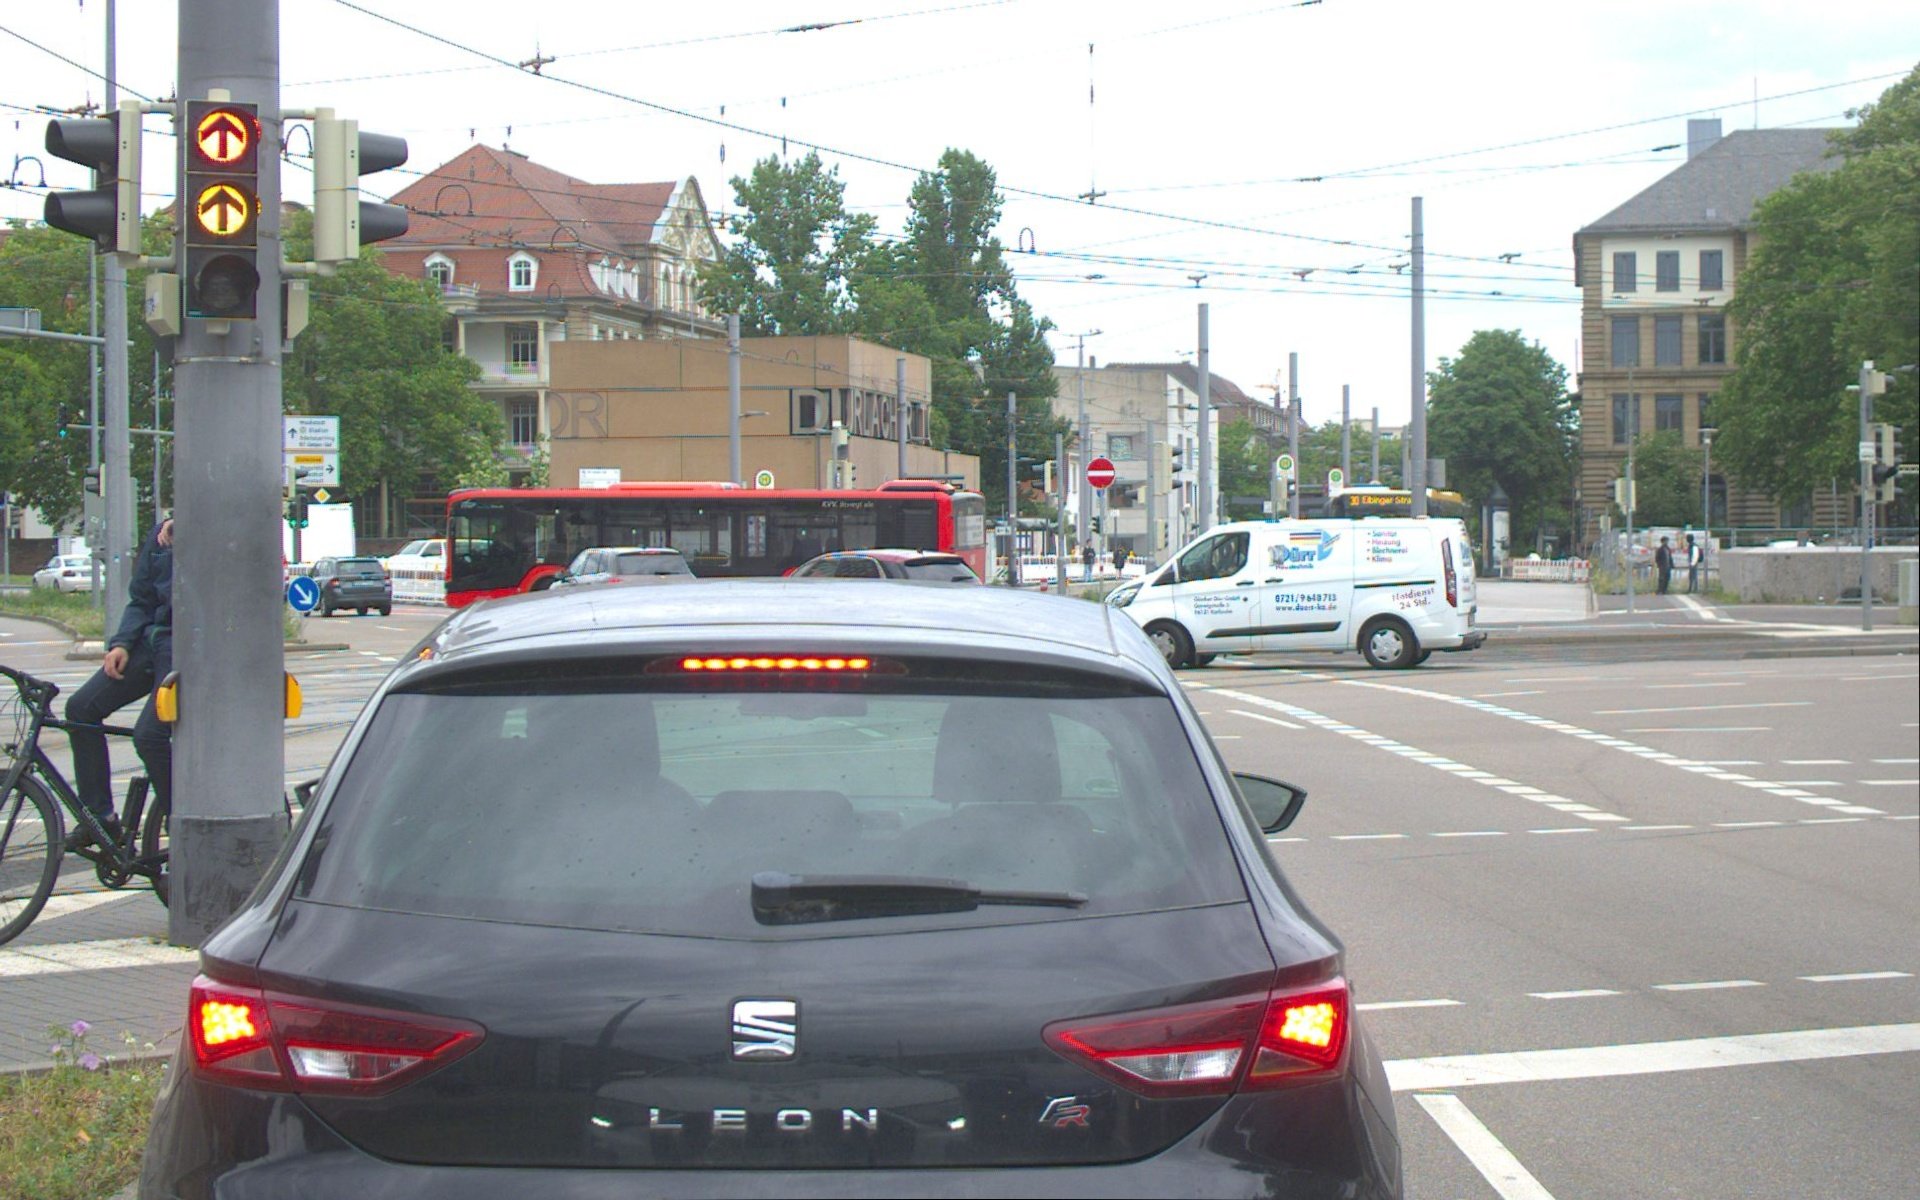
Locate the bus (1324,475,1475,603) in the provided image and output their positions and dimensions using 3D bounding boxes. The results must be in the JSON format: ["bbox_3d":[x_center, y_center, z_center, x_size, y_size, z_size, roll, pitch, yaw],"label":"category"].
[{"bbox_3d":[12.188,-1.660,94.275,3.018,3.256,13.036,0,1,12],"label":"bus"}]

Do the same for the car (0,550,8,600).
[{"bbox_3d":[-33.101,-0.822,114.229,1.993,1.634,4.001,-1,1,-28],"label":"car"}]

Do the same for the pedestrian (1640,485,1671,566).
[{"bbox_3d":[36.931,-3.945,182.520,1.387,4.239,1.347,0,1,0],"label":"pedestrian"}]

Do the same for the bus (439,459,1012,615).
[{"bbox_3d":[-5.210,-1.351,75.802,12.349,3.286,3.066,0,1,18],"label":"bus"}]

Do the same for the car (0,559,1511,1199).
[{"bbox_3d":[-0.266,0.675,5.964,1.746,1.459,4.000,0,1,-1],"label":"car"}]

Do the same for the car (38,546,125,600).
[{"bbox_3d":[-28.957,-0.906,113.276,1.993,1.744,4.001,-1,1,-26],"label":"car"}]

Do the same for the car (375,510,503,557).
[{"bbox_3d":[-21.794,-2.793,144.000,4.991,1.858,1.999,-2,-2,-44],"label":"car"}]

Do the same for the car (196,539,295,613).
[{"bbox_3d":[-20.085,-0.695,96.536,1.993,2.007,4.001,-1,1,-22],"label":"car"}]

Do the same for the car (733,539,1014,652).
[{"bbox_3d":[-1.329,-0.088,51.170,1.859,1.595,4.203,-1,1,-43],"label":"car"}]

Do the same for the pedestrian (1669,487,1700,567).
[{"bbox_3d":[38.462,-3.881,182.499,1.307,4.239,1.347,0,1,0],"label":"pedestrian"}]

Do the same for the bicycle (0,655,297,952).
[{"bbox_3d":[-3.426,0.773,13.323,1.609,1.066,0.528,-1,1,-40],"label":"bicycle"}]

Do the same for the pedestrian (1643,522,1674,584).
[{"bbox_3d":[20.682,-1.394,101.762,0.824,1.847,1.020,0,1,16],"label":"pedestrian"}]

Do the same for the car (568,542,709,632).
[{"bbox_3d":[-5.893,-0.259,62.587,1.993,1.560,4.206,-1,1,-13],"label":"car"}]

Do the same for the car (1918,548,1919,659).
[{"bbox_3d":[15.232,-0.022,46.343,4.613,1.477,1.726,-2,2,-30],"label":"car"}]

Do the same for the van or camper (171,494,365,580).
[{"bbox_3d":[-27.799,-2.540,138.296,7.134,3.321,2.875,-2,0,-45],"label":"van or camper"}]

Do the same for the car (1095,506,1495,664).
[{"bbox_3d":[4.463,-0.204,45.627,5.019,2.012,1.999,0,1,15],"label":"car"}]

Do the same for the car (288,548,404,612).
[{"bbox_3d":[-15.174,-0.509,84.812,1.993,1.534,4.001,-1,1,-22],"label":"car"}]

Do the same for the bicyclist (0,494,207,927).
[{"bbox_3d":[-3.362,0.410,13.377,0.653,1.633,0.517,-1,1,-40],"label":"bicyclist"}]
